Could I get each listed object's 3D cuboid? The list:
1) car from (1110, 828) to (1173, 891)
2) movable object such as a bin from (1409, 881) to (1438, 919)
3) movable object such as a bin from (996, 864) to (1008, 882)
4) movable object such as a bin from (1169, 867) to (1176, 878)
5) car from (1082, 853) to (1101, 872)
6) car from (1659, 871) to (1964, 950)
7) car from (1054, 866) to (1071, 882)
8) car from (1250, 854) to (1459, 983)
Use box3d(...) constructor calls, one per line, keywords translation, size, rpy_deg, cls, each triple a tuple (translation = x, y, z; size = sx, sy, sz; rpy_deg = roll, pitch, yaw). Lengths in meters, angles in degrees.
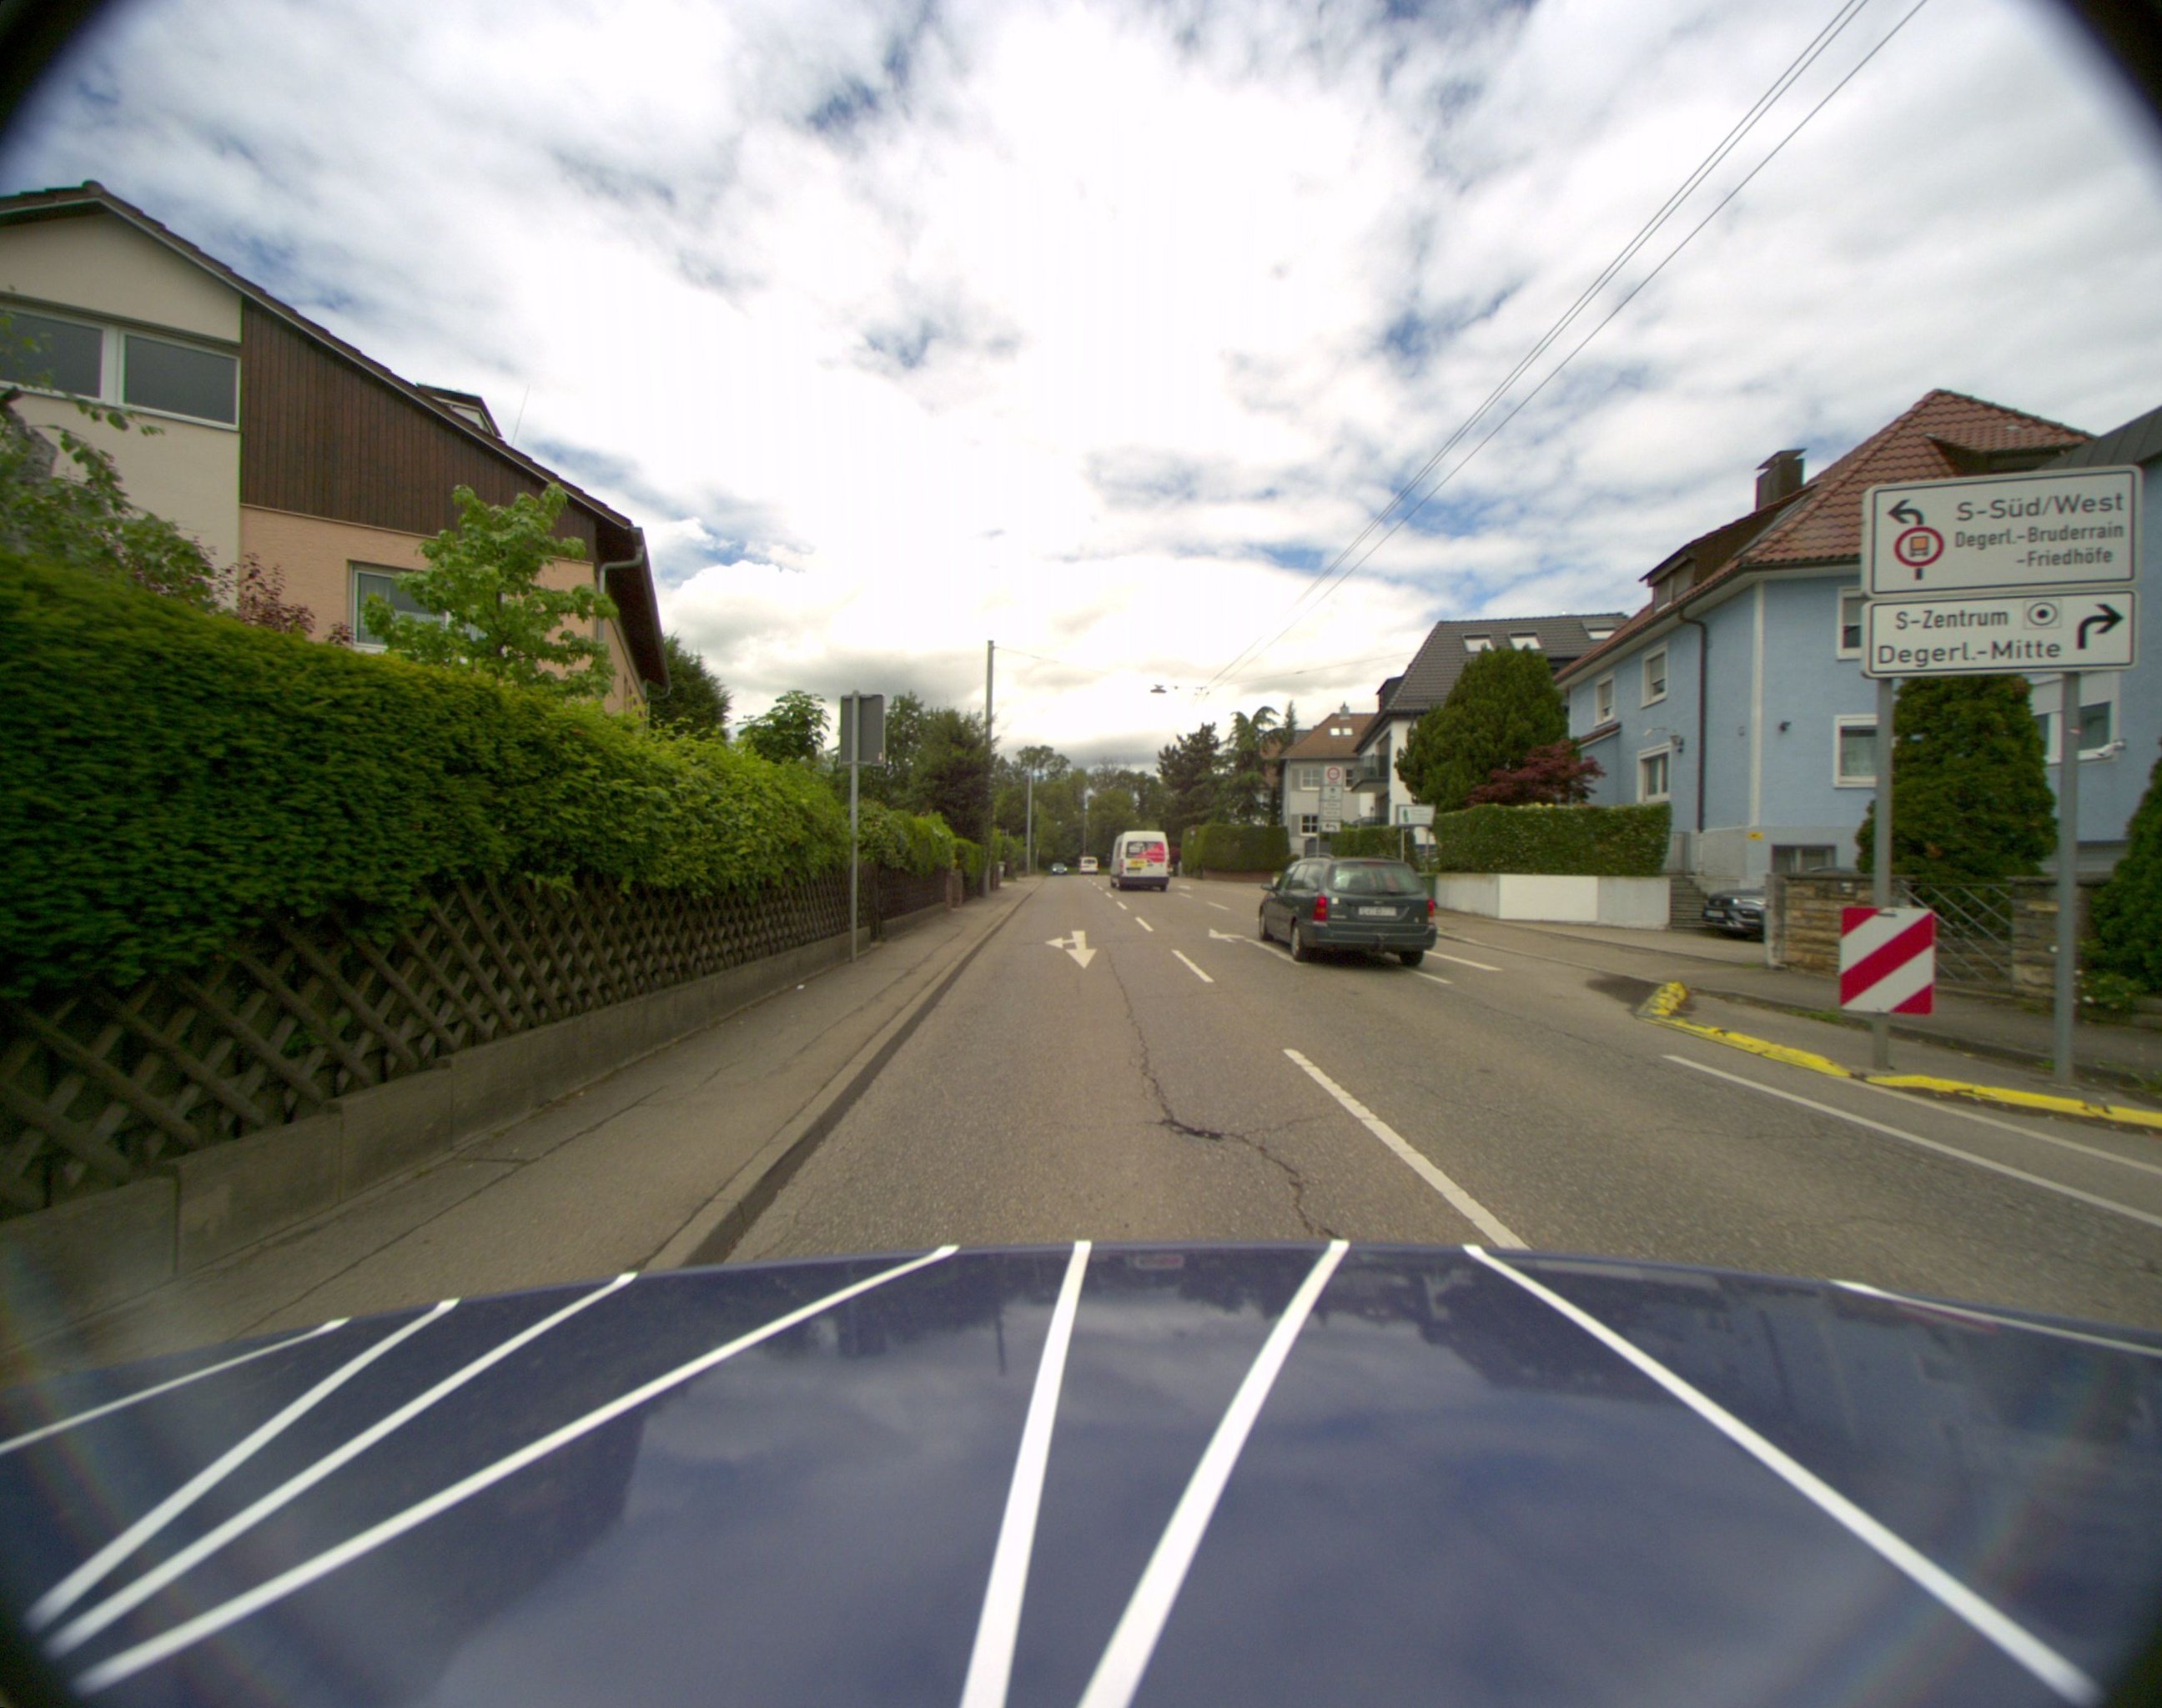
box3d(translation=(2.538, 0.206, 33.596), size=(2.117, 2.484, 6.123), rpy_deg=(1, 0, -1), cls="car")
box3d(translation=(9.025, 1.207, 20.050), size=(0.508, 0.967, 0.540), rpy_deg=(1, 0, 2), cls="movable object such as a bin")
box3d(translation=(-4.442, 1.060, 42.633), size=(0.448, 0.950, 0.685), rpy_deg=(4, -1, -21), cls="movable object such as a bin")
box3d(translation=(8.526, 1.688, 70.769), size=(0.479, 1.028, 0.718), rpy_deg=(0, -1, 27), cls="movable object such as a bin")
box3d(translation=(1.135, 0.965, 86.347), size=(1.863, 2.035, 5.171), rpy_deg=(1, -1, -2), cls="car")
box3d(translation=(14.490, 1.073, 15.358), size=(3.993, 1.382, 2.002), rpy_deg=(1, 0, 12), cls="car")
box3d(translation=(-2.343, 2.539, 95.988), size=(1.863, 1.855, 4.610), rpy_deg=(1, -1, -5), cls="car")
box3d(translation=(3.842, 0.801, 11.548), size=(1.738, 1.544, 4.448), rpy_deg=(1, 0, 3), cls="car")
